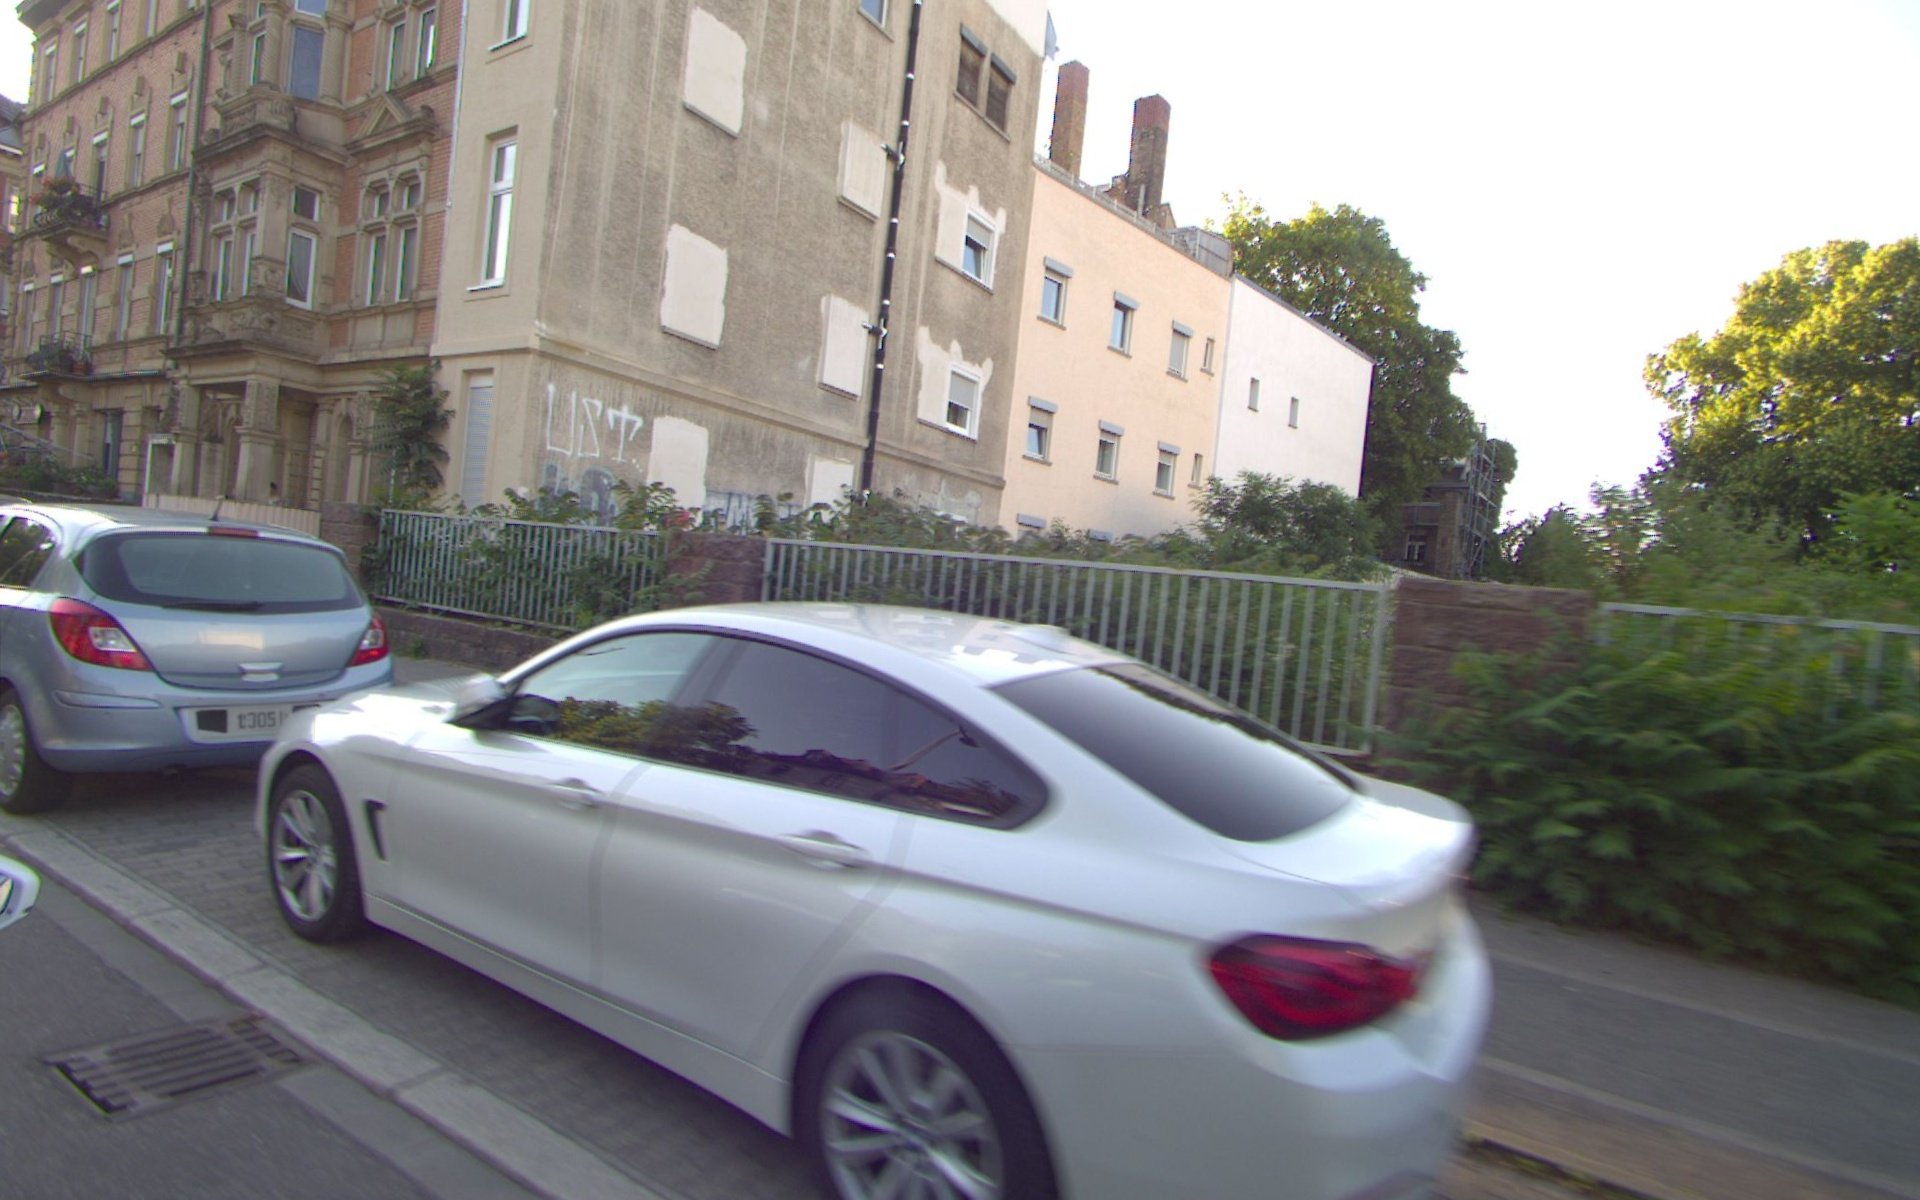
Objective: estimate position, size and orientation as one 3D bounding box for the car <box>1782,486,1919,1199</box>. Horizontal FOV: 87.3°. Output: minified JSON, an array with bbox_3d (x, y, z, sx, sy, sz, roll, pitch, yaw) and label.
[{"bbox_3d":[3.781,0.944,0.369,5.097,1.944,1.886,6,2,35],"label":"car"}]

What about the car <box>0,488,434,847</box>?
[{"bbox_3d":[-5.106,0.148,6.030,3.828,1.508,1.700,6,4,31],"label":"car"}]

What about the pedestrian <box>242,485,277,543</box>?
[{"bbox_3d":[-13.441,-1.638,19.317,0.398,1.041,0.318,7,-1,-25],"label":"pedestrian"}]

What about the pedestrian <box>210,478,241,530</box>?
[{"bbox_3d":[-13.389,-1.750,18.348,0.305,0.880,0.318,7,-1,-25],"label":"pedestrian"}]

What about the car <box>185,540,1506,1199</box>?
[{"bbox_3d":[-0.768,0.671,3.593,4.567,1.404,1.727,6,4,33],"label":"car"}]

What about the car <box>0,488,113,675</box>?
[{"bbox_3d":[-9.140,-0.302,8.683,3.777,1.446,1.746,6,4,32],"label":"car"}]
